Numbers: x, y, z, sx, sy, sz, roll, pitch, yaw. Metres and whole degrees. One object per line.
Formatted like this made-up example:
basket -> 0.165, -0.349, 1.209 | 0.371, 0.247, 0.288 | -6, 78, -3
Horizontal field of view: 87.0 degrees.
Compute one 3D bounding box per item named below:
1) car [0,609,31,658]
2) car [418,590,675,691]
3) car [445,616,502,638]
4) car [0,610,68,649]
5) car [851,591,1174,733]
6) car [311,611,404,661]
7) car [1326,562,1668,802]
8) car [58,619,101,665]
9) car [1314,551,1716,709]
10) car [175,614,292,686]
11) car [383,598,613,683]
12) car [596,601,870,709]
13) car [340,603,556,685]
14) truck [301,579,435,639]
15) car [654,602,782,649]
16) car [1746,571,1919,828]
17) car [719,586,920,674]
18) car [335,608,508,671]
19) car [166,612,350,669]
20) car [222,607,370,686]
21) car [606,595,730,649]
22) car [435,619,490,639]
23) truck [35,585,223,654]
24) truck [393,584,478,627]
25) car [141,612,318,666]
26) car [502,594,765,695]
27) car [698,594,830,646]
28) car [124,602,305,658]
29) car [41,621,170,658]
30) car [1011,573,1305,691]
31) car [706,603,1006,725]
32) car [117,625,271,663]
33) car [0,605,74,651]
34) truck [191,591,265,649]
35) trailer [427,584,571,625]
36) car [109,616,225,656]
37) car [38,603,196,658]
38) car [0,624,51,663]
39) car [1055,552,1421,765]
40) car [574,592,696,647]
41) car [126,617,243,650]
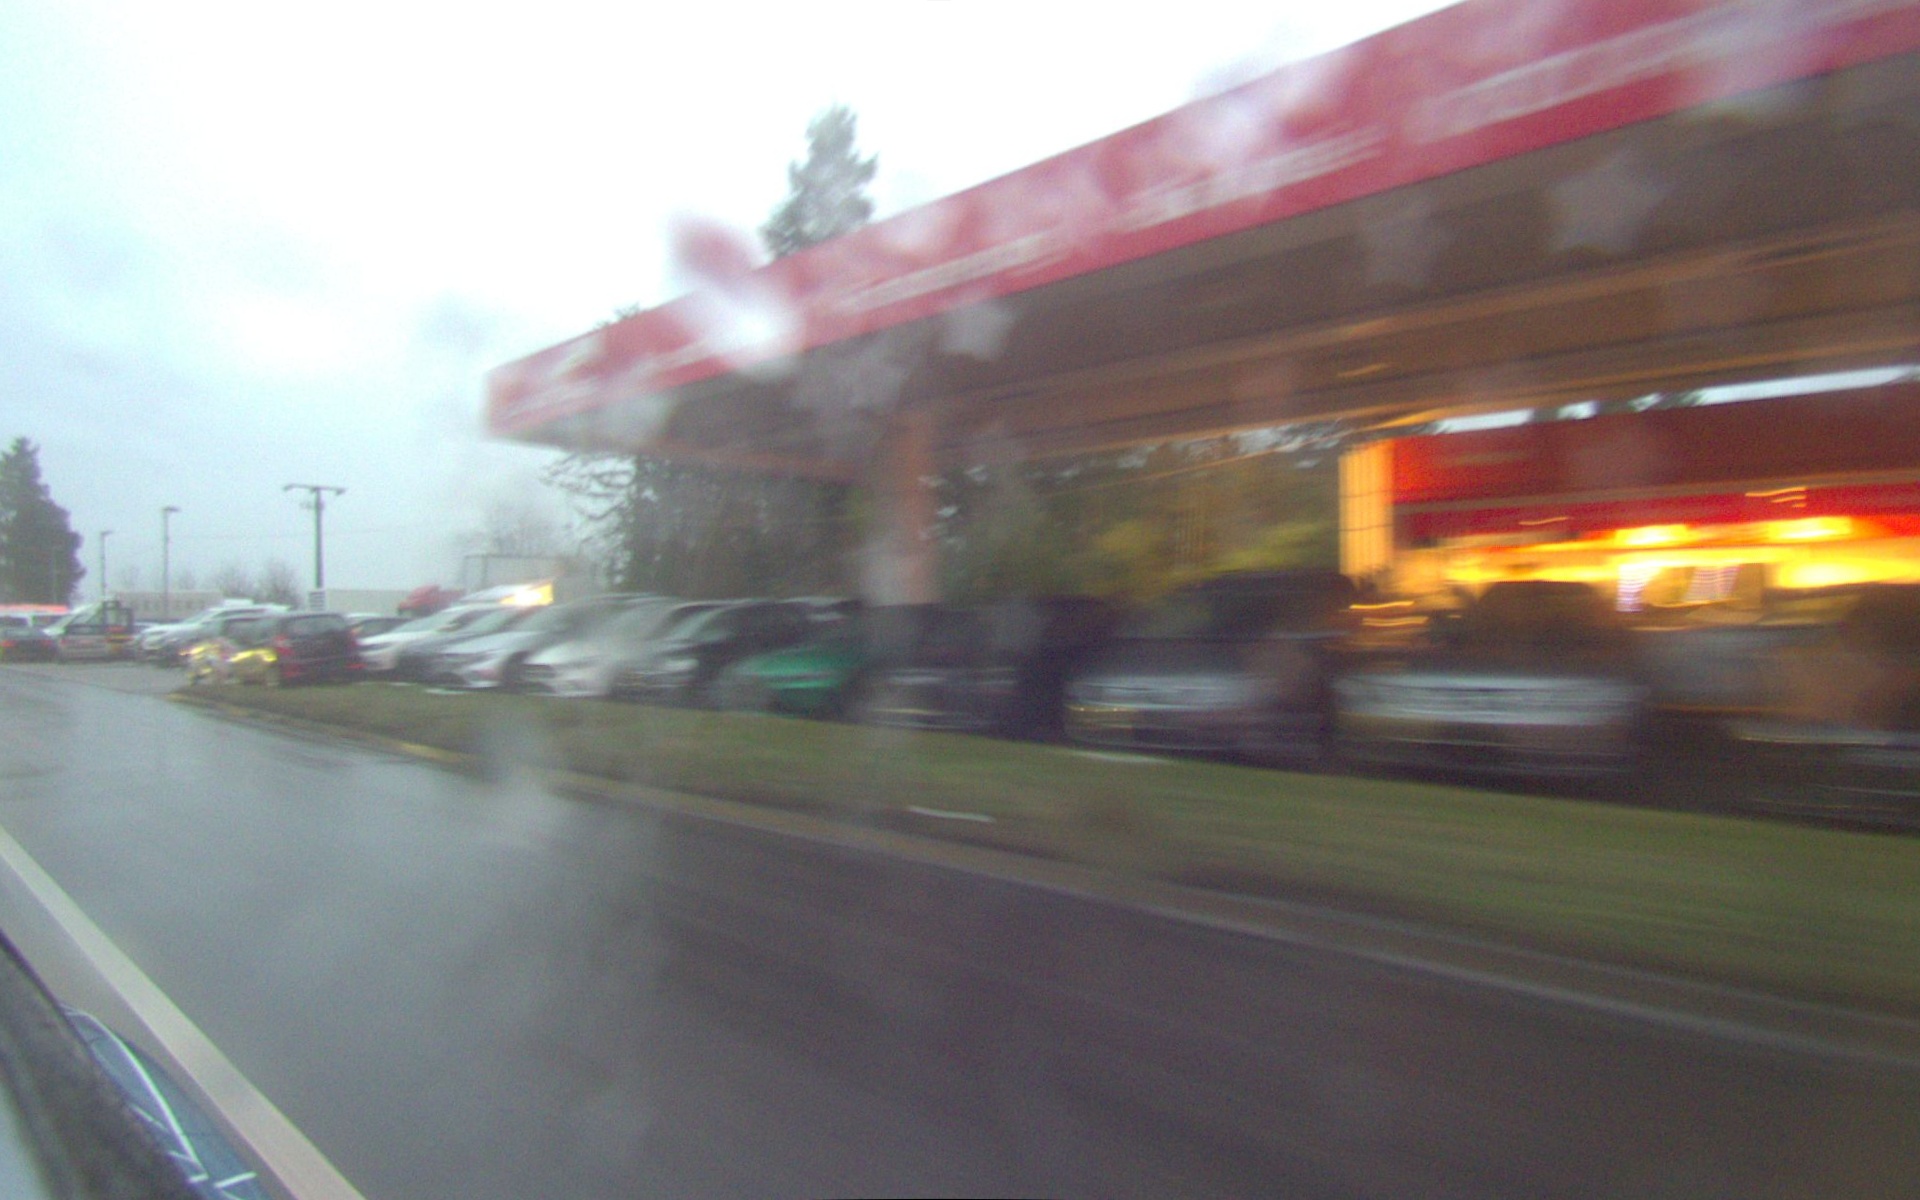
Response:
car -> -41.480, 1.442, 43.591 | 4.483, 2.028, 1.815 | -1, -1, 43
car -> -7.512, 0.671, 18.687 | 1.822, 1.566, 3.990 | -2, 0, 40
car -> -29.382, 1.624, 61.184 | 1.342, 1.227, 2.774 | -2, -1, 37
car -> -53.099, 1.646, 56.194 | 2.057, 2.167, 5.093 | -2, -3, 40
car -> 0.749, 0.599, 11.765 | 1.838, 1.356, 3.819 | -1, 0, 40
car -> -21.592, 1.277, 36.222 | 3.702, 1.689, 1.653 | -2, -1, 39
car -> 4.759, 0.539, 8.694 | 1.838, 1.571, 3.819 | -1, 0, 40
car -> -33.347, 1.569, 38.337 | 1.157, 1.657, 2.874 | 1, -2, -41
car -> 6.865, 0.342, 12.760 | 4.145, 1.669, 1.869 | -1, -1, 41
car -> -16.783, 1.115, 23.345 | 3.013, 1.555, 1.502 | -2, -2, 40
car -> -9.283, 0.752, 20.564 | 1.838, 1.463, 3.820 | -1, 1, 40
car -> -3.399, 0.751, 15.661 | 1.838, 1.416, 3.819 | -1, 0, 40
car -> -11.647, 0.934, 23.187 | 1.941, 1.662, 4.004 | -1, -1, 42
truck -> -46.049, 0.592, 79.087 | 2.994, 4.293, 8.628 | -1, 1, 29
car -> -8.389, 0.857, 35.341 | 1.957, 1.476, 3.946 | -2, 0, 40
car -> 6.766, 0.546, 7.096 | 1.838, 1.452, 3.819 | -1, 0, 40
car -> -2.917, 0.598, 20.564 | 4.042, 1.566, 1.848 | -2, 0, 42
car -> -14.488, 1.014, 27.387 | 1.774, 1.470, 3.736 | -2, 0, 38
car -> -21.254, 1.174, 30.765 | 1.824, 1.509, 4.291 | -2, 0, 41
car -> -13.547, 0.896, 20.570 | 3.740, 1.431, 1.664 | -1, -1, 43
car -> -10.635, 0.774, 37.050 | 1.957, 1.822, 3.946 | -2, 0, 40
car -> -31.044, 1.804, 63.167 | 1.342, 1.209, 2.774 | -2, -1, 37
truck -> -40.652, 0.898, 49.715 | 2.332, 3.166, 6.791 | -2, -1, 39
truck -> -35.292, 0.346, 68.249 | 2.222, 2.717, 4.683 | -2, 0, 26
car -> -23.218, 1.183, 32.261 | 1.995, 1.509, 4.288 | -2, 0, 43
car -> -5.457, 0.670, 17.254 | 1.942, 1.420, 3.820 | -1, 1, 40
car -> -6.479, 0.625, 33.754 | 1.957, 1.588, 3.946 | -2, 0, 40
car -> -24.926, 0.948, 33.979 | 2.007, 1.689, 4.493 | -2, 0, 36
car -> -36.139, 1.692, 42.864 | 1.809, 1.489, 3.870 | -1, -3, 40
car -> 2.951, 0.472, 15.602 | 4.042, 1.566, 1.848 | -2, 0, 42
car -> -1.268, 0.754, 13.619 | 1.838, 1.356, 3.819 | -1, 0, 40
car -> -31.070, 1.738, 41.174 | 1.781, 1.448, 4.709 | -2, -2, 38
car -> -56.403, 1.638, 59.576 | 2.174, 2.652, 6.093 | -2, -3, 40
truck -> -45.864, 1.284, 63.347 | 5.841, 3.481, 2.012 | -2, -3, 37
trailer -> -32.998, 0.260, 73.020 | 2.208, 2.693, 10.415 | -2, 0, 26
car -> -38.256, 1.714, 48.891 | 2.021, 1.746, 4.012 | -2, 0, 37
car -> -43.385, 1.517, 52.256 | 2.193, 2.658, 5.973 | -2, -1, 38
car -> -37.131, 1.667, 39.650 | 4.252, 1.331, 1.555 | 1, -1, 39
car -> 2.980, 0.460, 10.215 | 1.979, 1.669, 4.237 | -1, 0, 40
car -> -12.269, 0.695, 38.390 | 1.957, 1.937, 3.946 | -2, 0, 40
car -> -36.188, 1.546, 47.321 | 1.811, 1.388, 4.012 | -2, 0, 37
